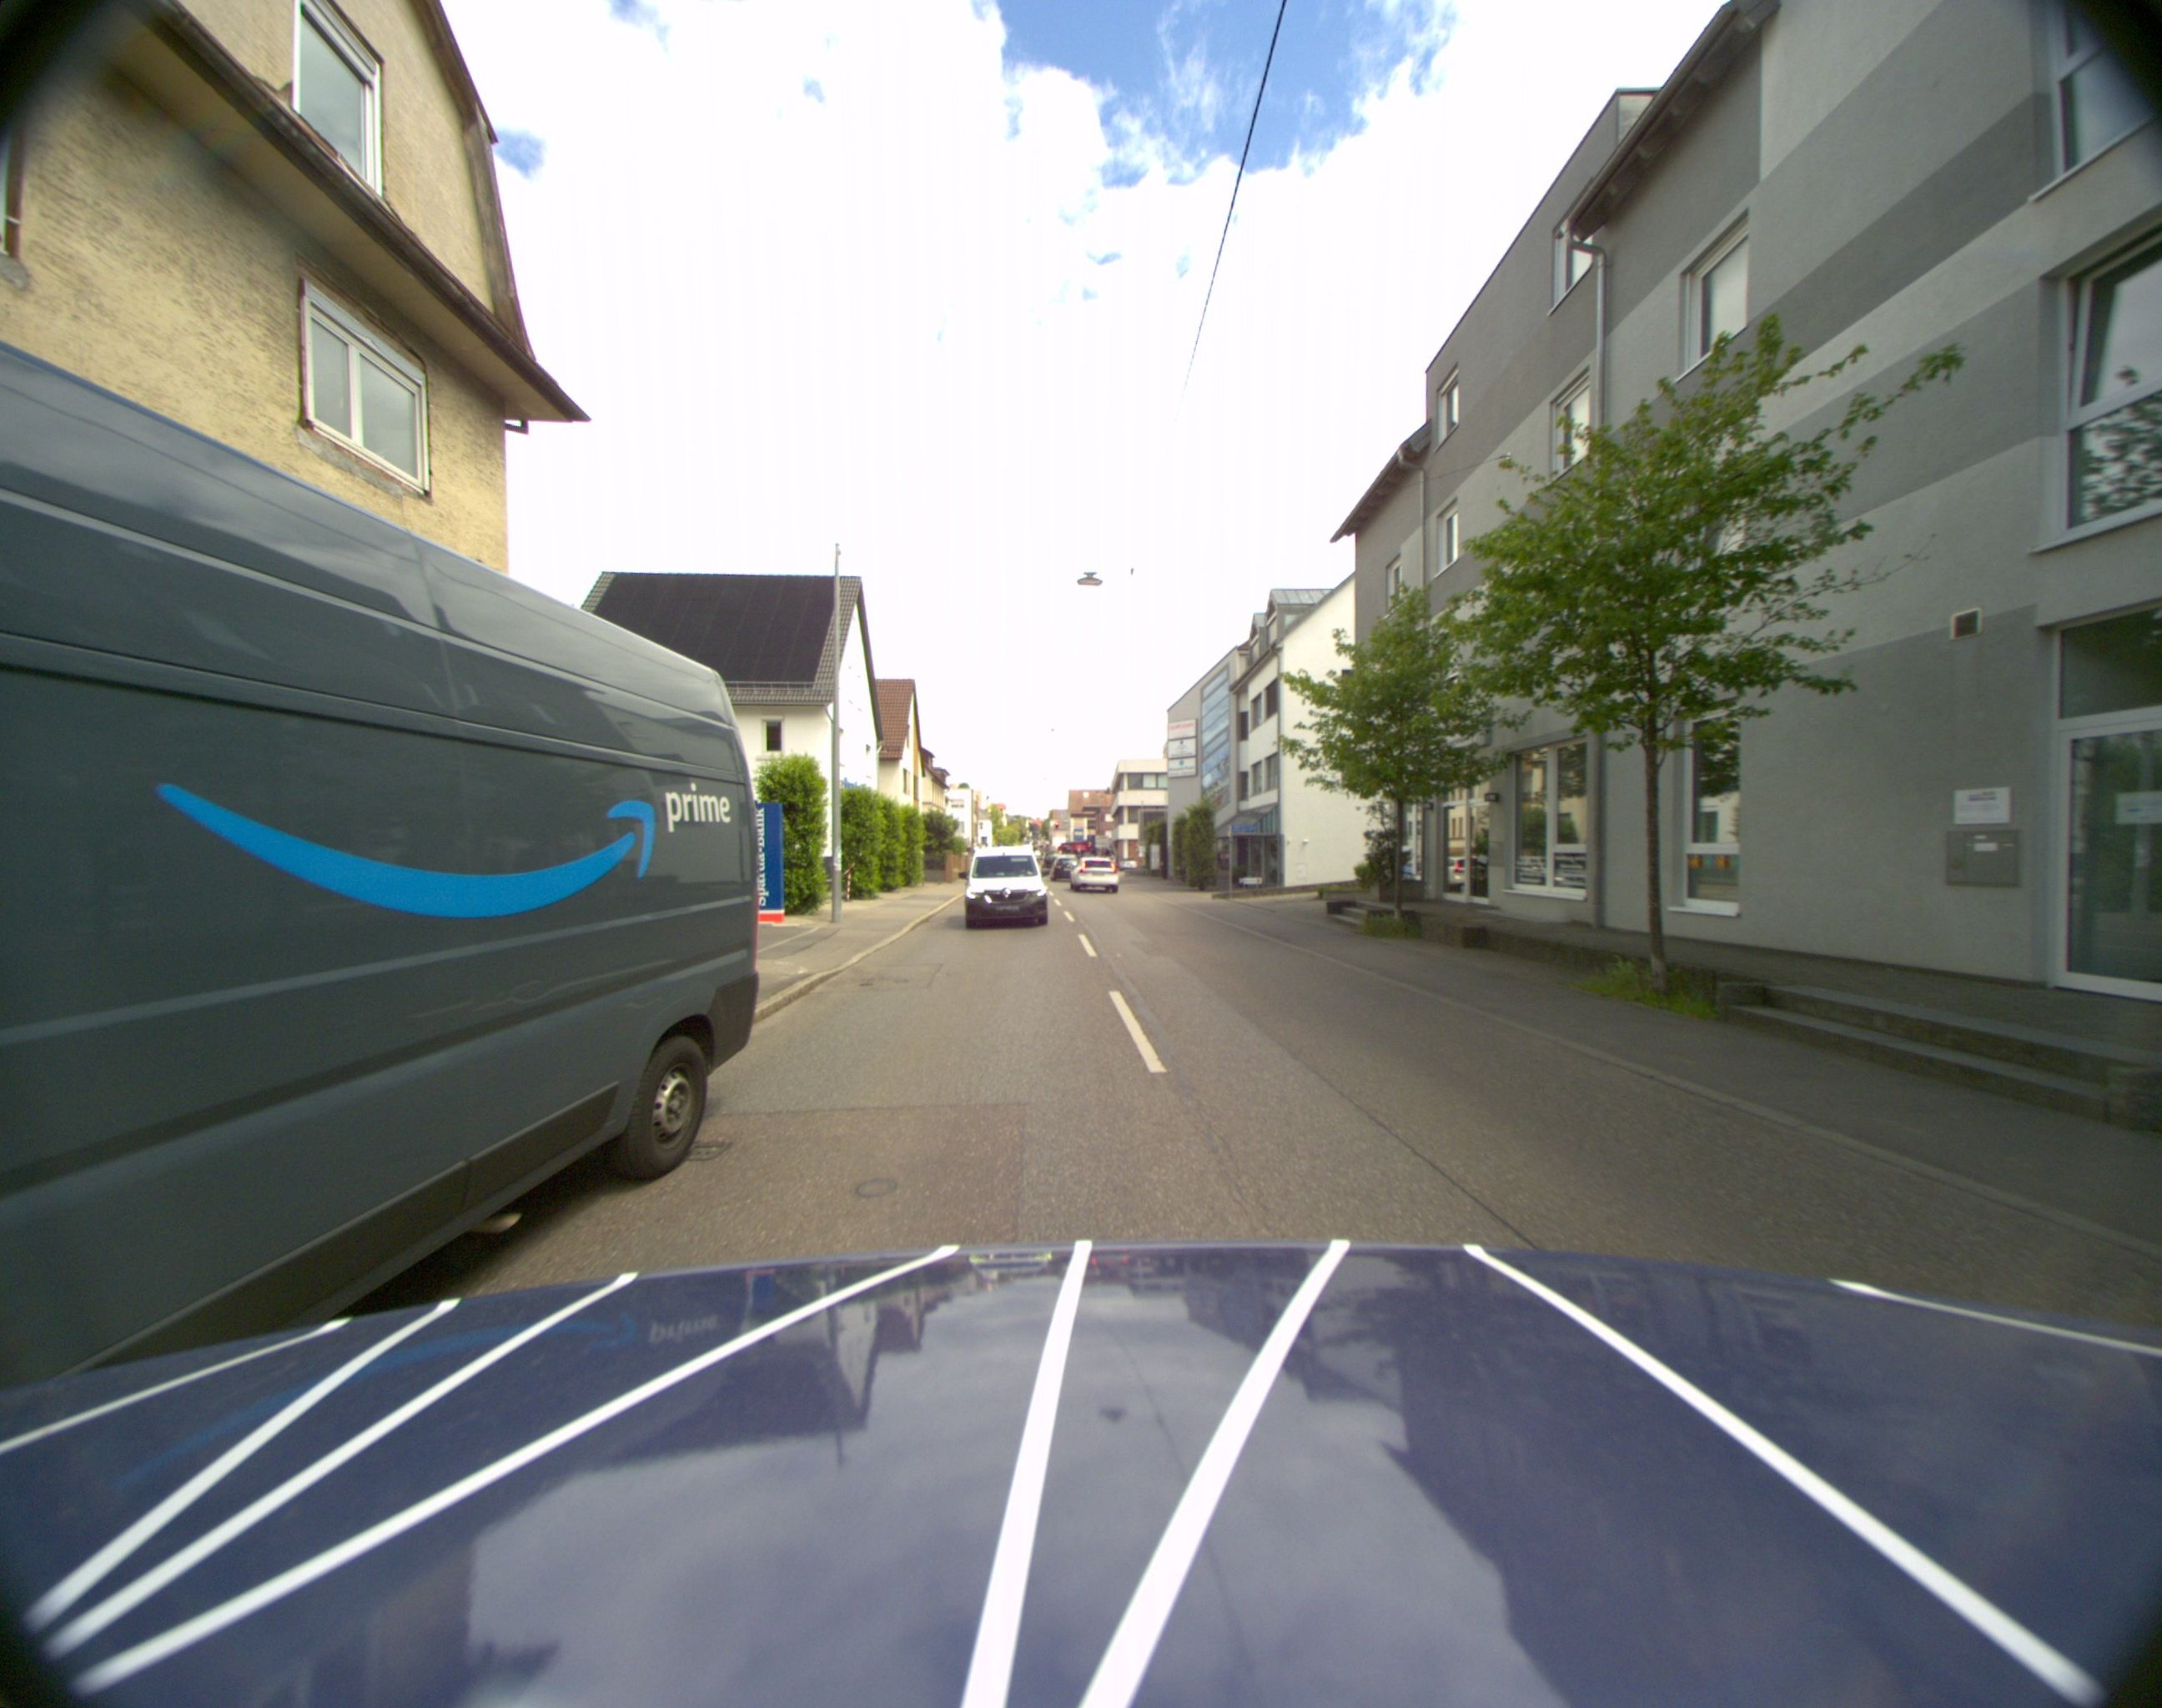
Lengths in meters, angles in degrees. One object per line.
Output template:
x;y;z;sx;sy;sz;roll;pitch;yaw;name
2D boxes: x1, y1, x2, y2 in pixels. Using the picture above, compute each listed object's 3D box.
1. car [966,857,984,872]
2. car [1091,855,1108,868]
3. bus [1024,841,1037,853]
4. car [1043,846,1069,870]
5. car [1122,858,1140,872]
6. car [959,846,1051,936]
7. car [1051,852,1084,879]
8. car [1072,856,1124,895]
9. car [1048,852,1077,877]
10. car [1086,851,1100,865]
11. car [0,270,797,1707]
-10.563;1.011;75.836;1.657;1.413;3.998;0;0;-6;car
2.169;0.815;88.624;1.840;1.418;4.218;-1;1;0;car
-13.932;-1.918;209.378;3.134;3.239;9.745;-1;1;-5;bus
-2.392;0.370;70.949;2.117;2.139;4.880;1;0;-5;car
5.190;1.162;79.646;1.824;1.321;4.236;-1;1;3;car
-1.836;0.762;18.199;1.872;1.805;5.004;-1;0;-6;car
-0.880;0.708;48.479;1.837;1.575;4.036;1;0;-4;car
0.675;0.900;34.156;1.903;1.550;4.799;2;0;-4;car
-1.419;0.750;57.239;1.992;1.727;4.794;2;0;-3;car
1.591;0.528;100.420;1.702;1.766;4.461;-1;1;3;car
-2.939;0.373;1.715;2.153;2.754;6.249;-1;0;1;car
